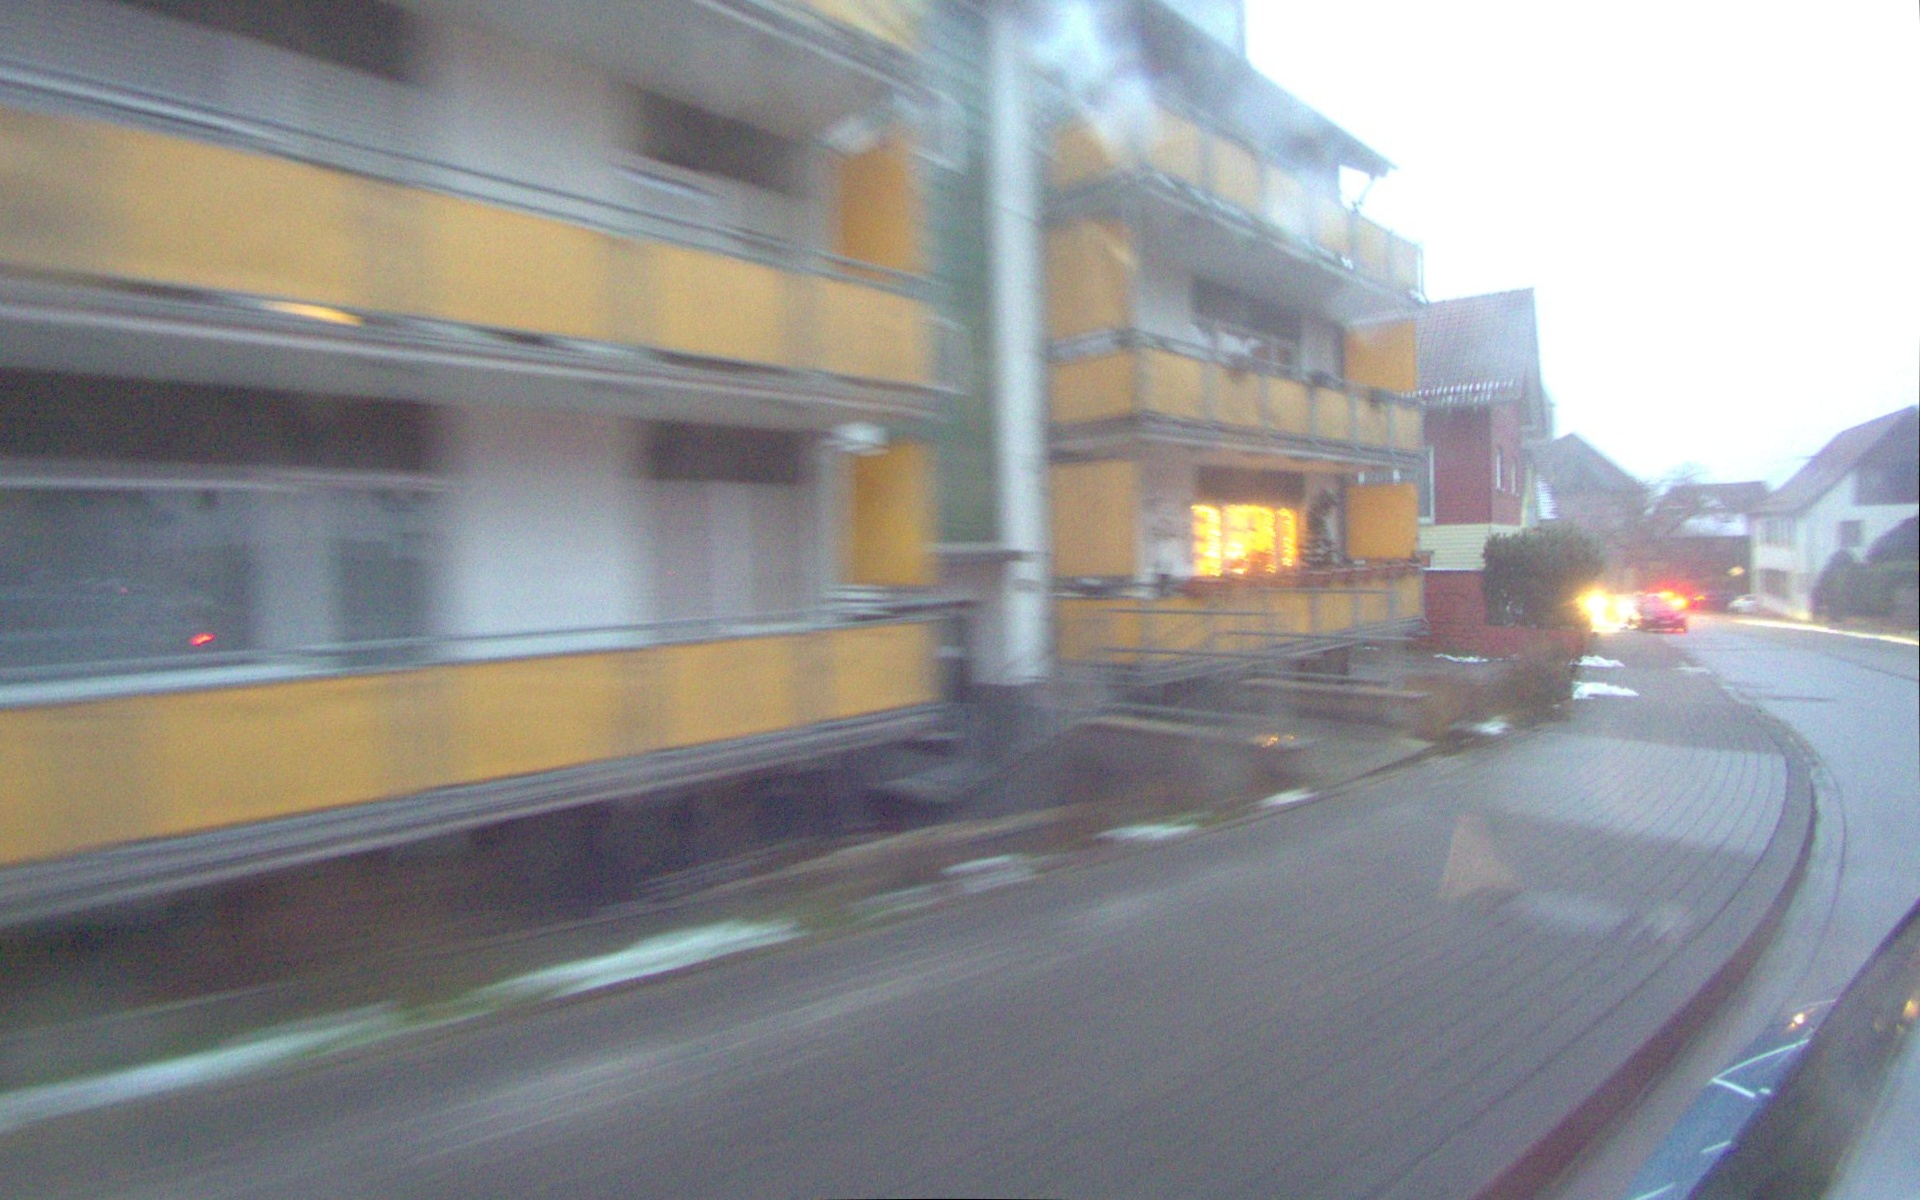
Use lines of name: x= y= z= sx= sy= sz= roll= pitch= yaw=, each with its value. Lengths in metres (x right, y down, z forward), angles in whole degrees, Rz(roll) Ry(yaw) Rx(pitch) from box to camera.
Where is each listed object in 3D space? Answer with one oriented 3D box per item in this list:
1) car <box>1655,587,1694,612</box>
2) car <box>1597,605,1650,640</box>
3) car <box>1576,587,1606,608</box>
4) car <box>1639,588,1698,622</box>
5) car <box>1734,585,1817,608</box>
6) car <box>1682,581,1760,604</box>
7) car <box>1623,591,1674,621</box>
car: x=49.168 y=-0.025 z=69.714 sx=1.748 sy=1.600 sz=3.958 roll=-2 pitch=0 yaw=30
car: x=43.258 y=1.449 z=66.089 sx=1.975 sy=2.039 sz=3.973 roll=-2 pitch=0 yaw=21
car: x=50.142 y=-0.201 z=80.489 sx=1.749 sy=1.516 sz=3.961 roll=-3 pitch=0 yaw=28
car: x=33.784 y=0.211 z=48.368 sx=1.715 sy=1.449 sz=4.751 roll=-2 pitch=0 yaw=28
car: x=54.839 y=-0.225 z=68.165 sx=1.961 sy=1.443 sz=4.240 roll=-2 pitch=0 yaw=-4
car: x=56.968 y=-0.561 z=75.849 sx=4.447 sy=1.599 sz=1.977 roll=-2 pitch=0 yaw=33
car: x=36.835 y=0.283 z=54.202 sx=1.779 sy=1.457 sz=4.577 roll=-2 pitch=0 yaw=29
